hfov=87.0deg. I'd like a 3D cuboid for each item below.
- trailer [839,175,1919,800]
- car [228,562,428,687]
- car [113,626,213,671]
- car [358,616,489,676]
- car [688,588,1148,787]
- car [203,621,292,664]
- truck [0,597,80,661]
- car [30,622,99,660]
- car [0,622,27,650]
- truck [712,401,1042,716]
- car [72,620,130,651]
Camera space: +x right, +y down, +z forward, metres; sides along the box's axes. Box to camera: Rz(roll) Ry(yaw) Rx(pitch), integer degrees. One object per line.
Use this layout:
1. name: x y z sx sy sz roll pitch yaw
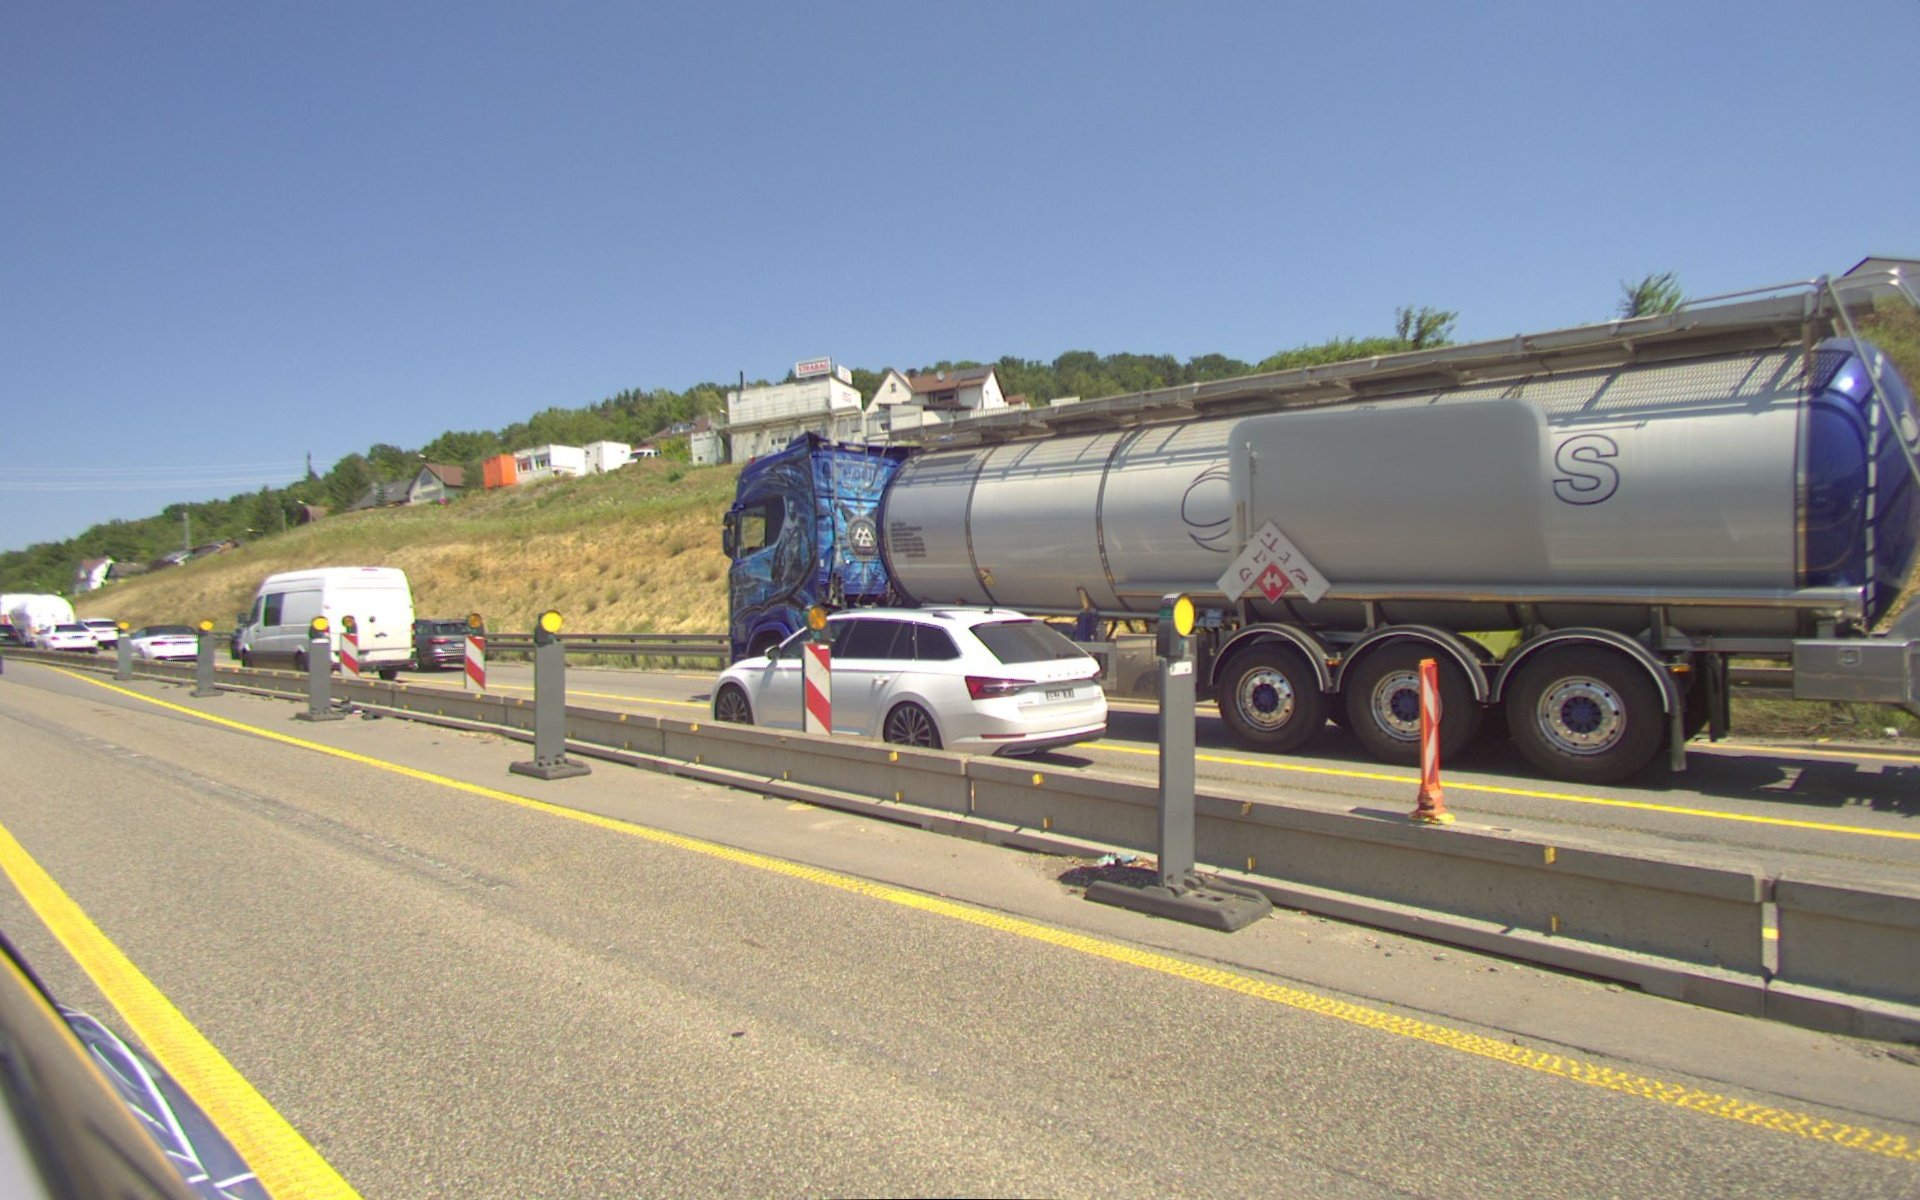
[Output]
1. trailer: 3.280 -0.659 10.785 11.278 3.900 2.570 -1 0 45
2. car: -15.369 0.584 24.411 6.623 2.649 2.183 -2 -1 40
3. car: -26.767 1.592 33.940 4.386 1.387 1.815 -2 -1 40
4. car: -15.098 1.249 28.377 4.387 1.502 1.814 -2 -1 41
5. car: -0.669 0.718 10.172 1.813 1.530 4.846 -1 -1 -45
6. car: -27.160 1.596 38.526 4.387 1.502 1.814 -2 -1 41
7. truck: -64.428 1.924 70.451 13.152 4.077 3.075 -1 0 41
8. car: -41.704 1.884 47.104 4.386 1.648 1.815 -2 -1 40
9. car: -58.769 2.198 62.014 4.386 1.648 1.815 -2 -1 40
10. truck: -1.369 -0.512 15.378 4.589 4.006 2.554 -1 0 43
11. car: -48.843 1.992 57.511 4.386 1.648 1.815 -2 -1 40
